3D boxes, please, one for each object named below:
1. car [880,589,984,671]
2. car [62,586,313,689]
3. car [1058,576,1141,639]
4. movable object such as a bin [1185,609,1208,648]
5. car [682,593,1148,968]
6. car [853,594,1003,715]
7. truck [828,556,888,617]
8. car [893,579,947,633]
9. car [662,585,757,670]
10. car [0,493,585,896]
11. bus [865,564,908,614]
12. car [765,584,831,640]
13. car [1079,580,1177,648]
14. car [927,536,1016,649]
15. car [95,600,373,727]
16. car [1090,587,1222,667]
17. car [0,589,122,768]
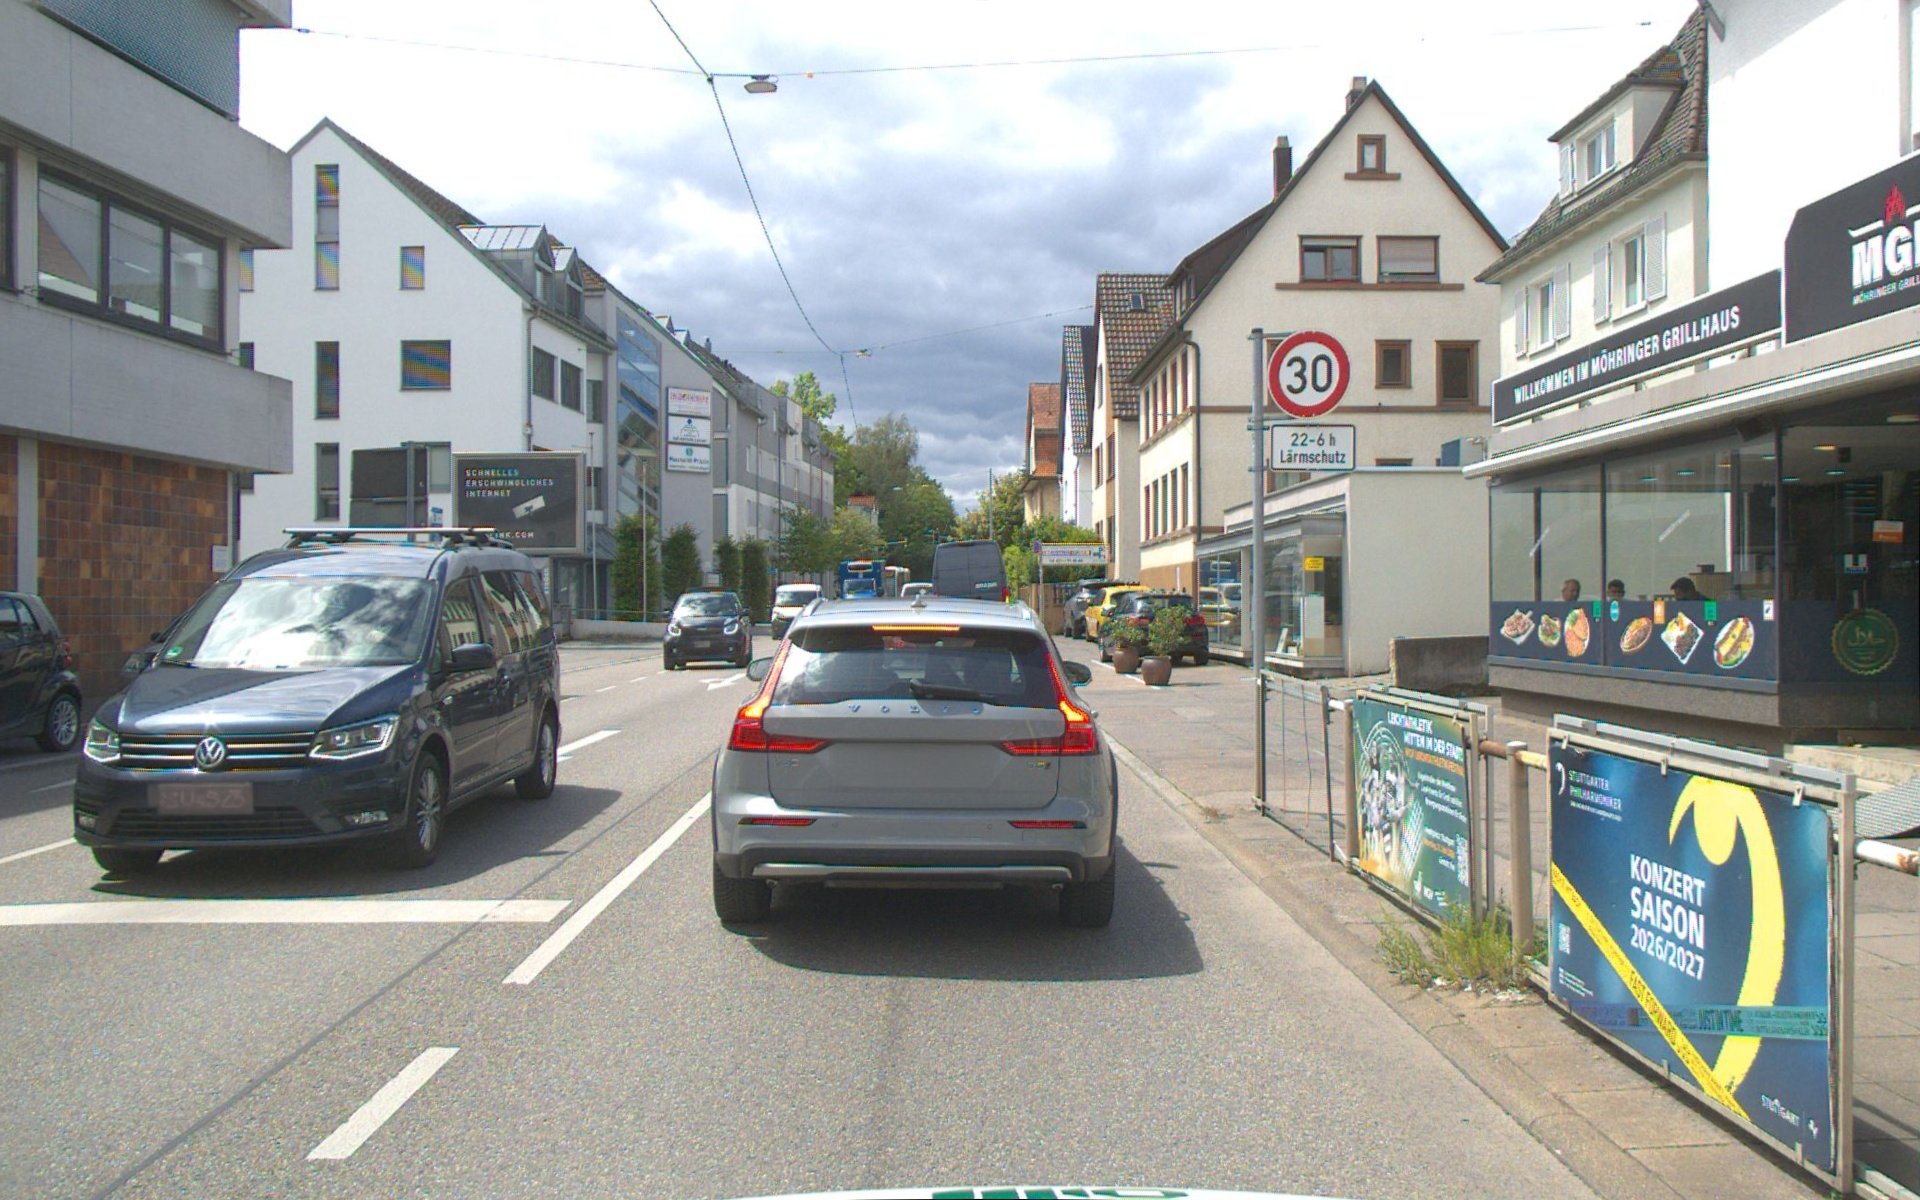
[{"bbox_3d":[-0.506,0.529,31.899,1.857,1.472,3.968,0,0,0],"label":"car"},{"bbox_3d":[-14.156,0.624,30.704,1.910,1.647,4.933,-3,0,5],"label":"car"},{"bbox_3d":[3.899,0.183,46.837,1.823,1.640,4.585,-2,0,-1],"label":"car"},{"bbox_3d":[5.725,0.687,40.059,0.490,0.941,0.598,-1,0,3],"label":"movable object such as a bin"},{"bbox_3d":[-0.150,0.715,8.614,1.857,1.479,3.969,1,0,1],"label":"car"},{"bbox_3d":[-0.383,0.674,22.570,1.857,1.472,3.969,0,0,0],"label":"car"},{"bbox_3d":[-5.568,-0.726,91.453,2.795,3.147,8.089,-1,0,0],"label":"truck"},{"bbox_3d":[-1.564,0.233,65.451,1.952,2.049,4.000,0,0,1],"label":"car"},{"bbox_3d":[-5.133,0.535,34.148,1.643,1.664,2.832,-1,0,-3],"label":"car"},{"bbox_3d":[-3.811,0.442,10.436,1.909,1.909,4.875,-1,0,-2],"label":"car"},{"bbox_3d":[-4.879,-0.721,111.406,2.628,3.219,10.182,-1,0,-1],"label":"bus"},{"bbox_3d":[-5.549,0.389,57.102,1.906,1.852,4.277,-1,0,-1],"label":"car"},{"bbox_3d":[4.220,0.316,42.055,1.839,1.472,4.306,-1,2,-3],"label":"car"},{"bbox_3d":[0.257,-0.211,45.000,2.207,2.844,5.568,-1,0,-1],"label":"car"},{"bbox_3d":[-9.261,0.746,21.497,1.686,1.447,4.149,1,0,1],"label":"car"},{"bbox_3d":[3.889,0.494,33.539,1.929,1.473,4.533,-1,0,-3],"label":"car"},{"bbox_3d":[-9.356,0.694,15.154,1.700,1.583,3.057,1,0,2],"label":"car"}]
